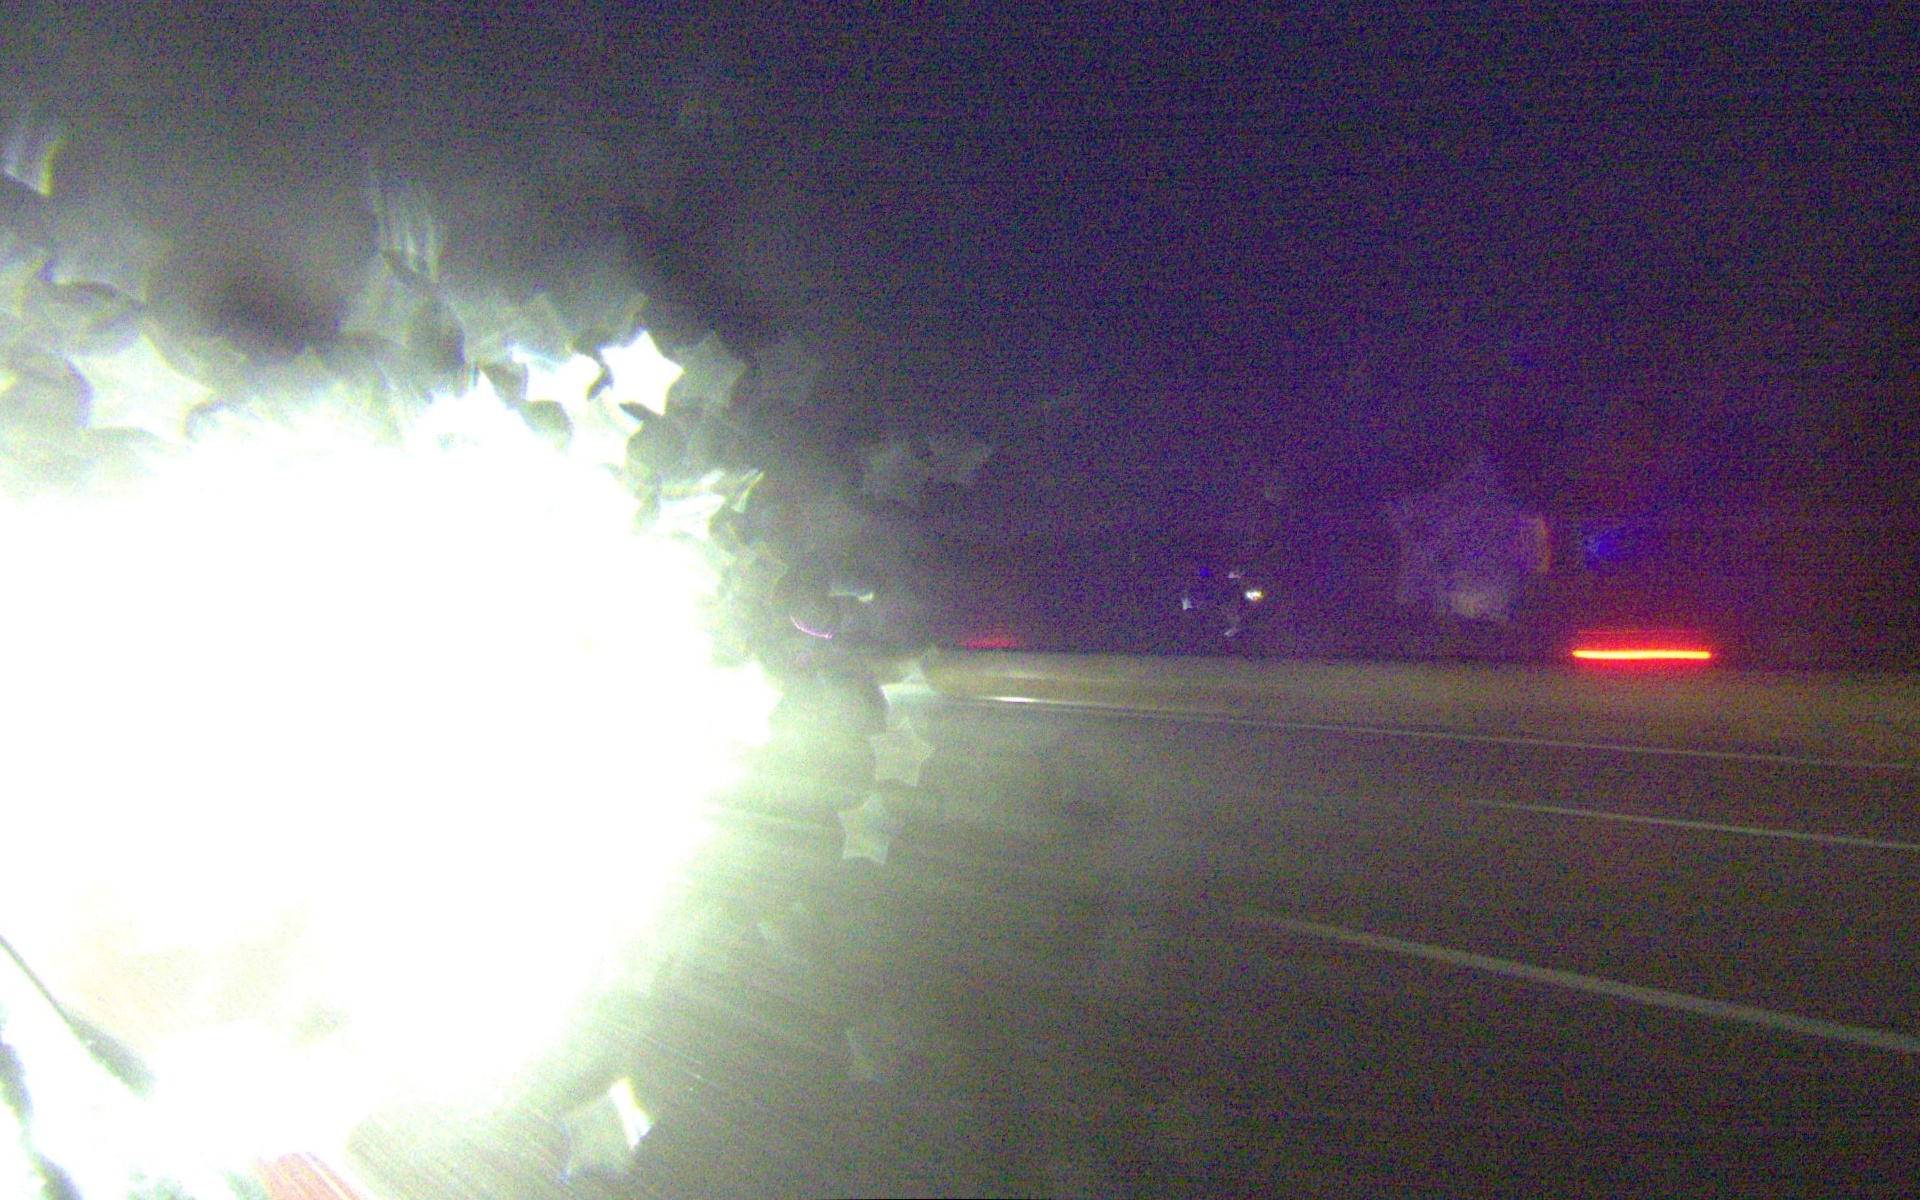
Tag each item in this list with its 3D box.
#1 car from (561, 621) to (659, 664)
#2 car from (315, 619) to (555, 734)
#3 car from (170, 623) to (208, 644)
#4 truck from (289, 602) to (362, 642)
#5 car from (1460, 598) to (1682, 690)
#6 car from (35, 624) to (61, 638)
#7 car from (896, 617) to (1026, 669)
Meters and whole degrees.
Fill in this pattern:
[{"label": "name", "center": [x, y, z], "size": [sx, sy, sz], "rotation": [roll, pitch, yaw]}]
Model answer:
[{"label": "car", "center": [-14.801, 1.758, 42.754], "size": [4.343, 1.685, 1.973], "rotation": [-1, 0, 40]}, {"label": "car", "center": [-7.814, 1.034, 14.891], "size": [4.243, 1.441, 1.640], "rotation": [-2, -1, 40]}, {"label": "car", "center": [-66.110, 2.876, 86.732], "size": [4.655, 1.685, 1.597], "rotation": [-1, 0, 40]}, {"label": "truck", "center": [-47.650, 1.632, 75.923], "size": [7.746, 2.868, 2.868], "rotation": [-1, 0, 44]}, {"label": "car", "center": [13.290, 0.907, 22.131], "size": [3.910, 1.818, 1.614], "rotation": [-1, 0, 42]}, {"label": "car", "center": [-119.641, 4.047, 132.763], "size": [4.343, 1.685, 1.973], "rotation": [-1, 0, 40]}, {"label": "car", "center": [0.008, 1.472, 35.722], "size": [4.343, 1.685, 1.973], "rotation": [-1, 0, 40]}]
